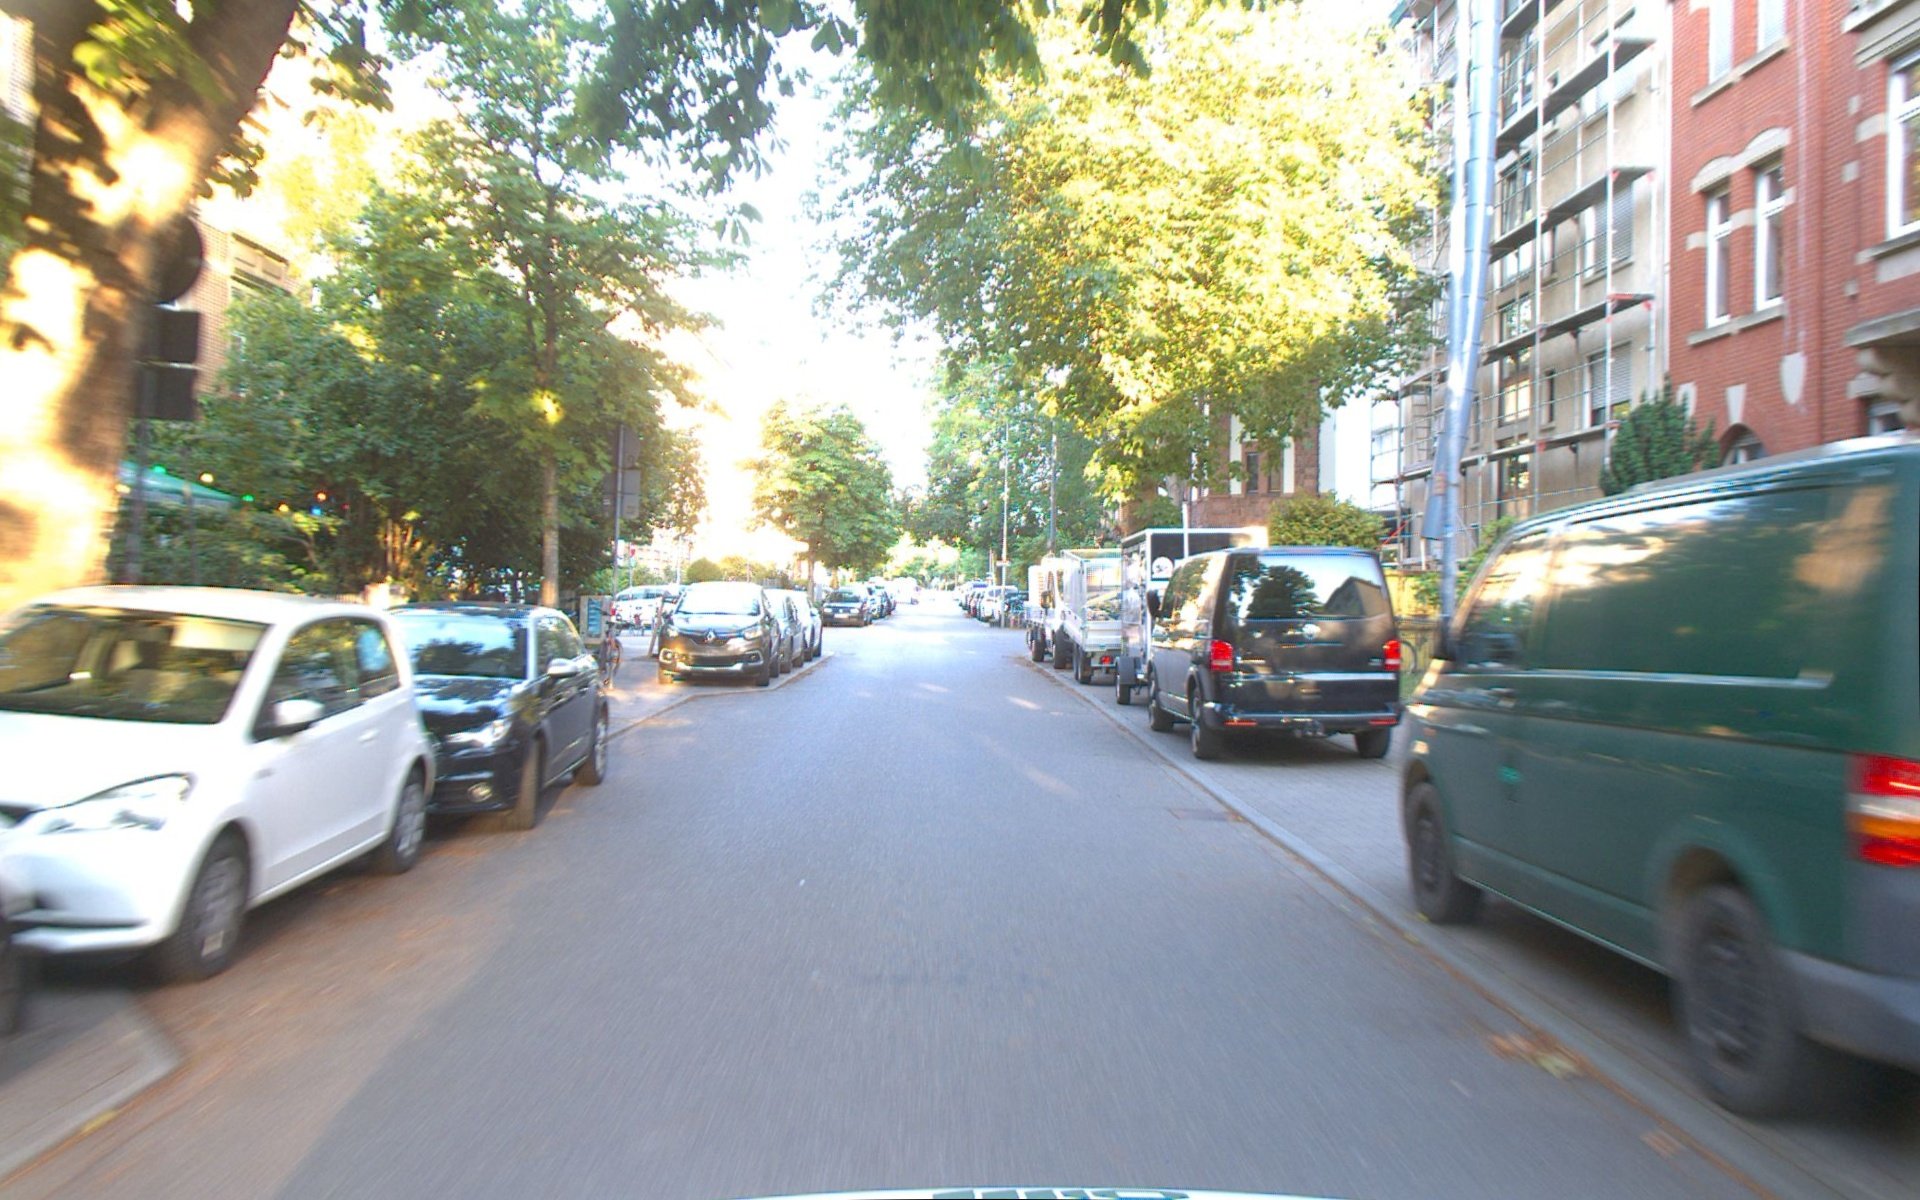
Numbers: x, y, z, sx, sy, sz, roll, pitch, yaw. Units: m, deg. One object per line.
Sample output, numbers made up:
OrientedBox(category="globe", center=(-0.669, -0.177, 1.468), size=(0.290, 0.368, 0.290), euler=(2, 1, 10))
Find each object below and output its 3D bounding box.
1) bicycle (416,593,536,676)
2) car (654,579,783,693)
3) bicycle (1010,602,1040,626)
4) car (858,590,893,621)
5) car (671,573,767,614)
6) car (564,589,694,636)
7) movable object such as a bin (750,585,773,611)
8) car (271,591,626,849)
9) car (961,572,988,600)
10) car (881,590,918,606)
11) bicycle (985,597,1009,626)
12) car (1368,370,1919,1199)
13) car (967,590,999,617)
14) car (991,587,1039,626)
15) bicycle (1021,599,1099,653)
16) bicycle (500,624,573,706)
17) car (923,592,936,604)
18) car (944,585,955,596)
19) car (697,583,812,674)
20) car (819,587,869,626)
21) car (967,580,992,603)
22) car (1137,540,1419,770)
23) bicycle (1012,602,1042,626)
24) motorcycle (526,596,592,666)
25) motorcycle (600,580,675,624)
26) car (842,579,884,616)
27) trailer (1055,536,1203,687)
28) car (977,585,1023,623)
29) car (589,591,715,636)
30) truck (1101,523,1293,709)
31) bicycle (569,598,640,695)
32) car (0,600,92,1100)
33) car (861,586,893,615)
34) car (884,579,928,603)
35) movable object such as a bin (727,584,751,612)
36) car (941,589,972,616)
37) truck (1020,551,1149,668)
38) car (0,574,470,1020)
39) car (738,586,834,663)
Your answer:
OrientedBox(category="bicycle", center=(-7.951, 0.542, 27.318), size=(0.593, 1.307, 2.486), euler=(0, 0, 19))
OrientedBox(category="car", center=(-3.800, 0.503, 26.659), size=(1.656, 1.590, 4.399), euler=(3, 1, -4))
OrientedBox(category="bicycle", center=(2.673, 0.577, 68.368), size=(1.207, 0.964, 0.328), euler=(0, 1, -24))
OrientedBox(category="car", center=(-4.432, 0.295, 87.137), size=(1.681, 1.594, 3.780), euler=(1, 0, -1))
OrientedBox(category="car", center=(-10.781, -0.301, 74.164), size=(4.011, 1.554, 1.708), euler=(4, 0, -2))
OrientedBox(category="car", center=(-11.323, 0.397, 56.620), size=(4.005, 1.472, 1.711), euler=(1, 1, 8))
OrientedBox(category="movable object such as a bin", center=(-10.764, -0.130, 89.815), size=(0.991, 1.344, 1.005), euler=(3, 1, 4))
OrientedBox(category="car", center=(-3.442, 0.707, 11.781), size=(1.520, 1.511, 3.692), euler=(0, 1, -3))
OrientedBox(category="car", center=(1.060, -1.013, 122.060), size=(1.647, 1.975, 3.878), euler=(1, 0, -4))
OrientedBox(category="car", center=(-5.913, -0.210, 161.469), size=(3.548, 1.487, 1.605), euler=(1, 0, -5))
OrientedBox(category="bicycle", center=(1.549, 0.476, 69.180), size=(0.434, 1.193, 1.635), euler=(1, 0, 24))
OrientedBox(category="car", center=(3.218, 0.417, 6.325), size=(1.915, 2.094, 4.829), euler=(-2, 1, -2))
OrientedBox(category="car", center=(1.280, 0.199, 93.488), size=(1.652, 1.466, 4.208), euler=(-1, 0, -1))
OrientedBox(category="car", center=(2.382, 0.268, 72.099), size=(1.654, 1.620, 3.655), euler=(1, 1, -5))
OrientedBox(category="bicycle", center=(2.497, 0.654, 41.348), size=(1.866, 1.280, 0.406), euler=(-2, 0, -7))
OrientedBox(category="bicycle", center=(-5.465, 0.821, 21.426), size=(0.407, 0.945, 1.735), euler=(3, 1, 2))
OrientedBox(category="car", center=(-4.182, -0.231, 229.671), size=(1.776, 1.624, 3.482), euler=(1, 1, -1))
OrientedBox(category="car", center=(-1.672, -1.456, 260.747), size=(1.681, 1.624, 3.482), euler=(1, 1, -1))
OrientedBox(category="car", center=(-3.854, 0.516, 31.624), size=(1.656, 1.528, 4.401), euler=(4, 0, -1))
OrientedBox(category="car", center=(-4.651, 0.246, 66.766), size=(1.583, 1.496, 3.962), euler=(1, 1, 1))
OrientedBox(category="car", center=(1.379, -0.598, 117.935), size=(1.508, 1.548, 3.429), euler=(1, 0, -4))
OrientedBox(category="car", center=(3.069, 0.443, 16.972), size=(1.802, 1.976, 4.612), euler=(-2, 1, -2))
OrientedBox(category="bicycle", center=(2.755, 0.565, 67.670), size=(1.207, 0.974, 0.328), euler=(0, 1, -24))
OrientedBox(category="motorcycle", center=(-7.686, 0.566, 31.813), size=(0.570, 1.176, 2.891), euler=(3, 2, -1))
OrientedBox(category="motorcycle", center=(-12.578, 0.065, 64.536), size=(2.791, 1.667, 0.675), euler=(1, 0, 7))
OrientedBox(category="car", center=(-4.868, -0.141, 83.251), size=(1.882, 1.747, 4.427), euler=(1, 1, -1))
OrientedBox(category="trailer", center=(2.829, 0.157, 28.700), size=(1.914, 2.335, 4.643), euler=(-2, 1, -1))
OrientedBox(category="car", center=(1.860, 0.198, 78.235), size=(1.762, 1.741, 4.597), euler=(0, 0, -4))
OrientedBox(category="car", center=(-10.935, 0.461, 58.779), size=(4.005, 1.472, 1.819), euler=(1, 1, 9))
OrientedBox(category="truck", center=(3.196, 0.163, 23.255), size=(1.914, 2.285, 4.644), euler=(-2, 1, -1))
OrientedBox(category="bicycle", center=(-5.052, 0.631, 23.577), size=(0.472, 1.277, 1.900), euler=(4, 1, 2))
OrientedBox(category="car", center=(-3.566, 0.726, 3.326), size=(1.571, 1.460, 3.885), euler=(3, 1, -1))
OrientedBox(category="car", center=(-4.771, 0.003, 95.068), size=(1.681, 1.593, 3.787), euler=(1, 1, -1))
OrientedBox(category="car", center=(-5.383, -0.898, 164.264), size=(4.263, 2.358, 1.745), euler=(1, 0, -3))
OrientedBox(category="movable object such as a bin", center=(-11.974, -0.131, 89.622), size=(1.078, 1.439, 1.001), euler=(3, 1, -15))
OrientedBox(category="car", center=(-0.250, 0.150, 101.117), size=(1.653, 1.634, 3.937), euler=(1, 0, -4))
OrientedBox(category="truck", center=(2.562, 0.187, 35.781), size=(1.938, 2.284, 6.772), euler=(0, 0, -3))
OrientedBox(category="car", center=(-3.624, 0.675, 7.727), size=(1.520, 1.511, 3.694), euler=(3, 1, 0))
OrientedBox(category="car", center=(-3.870, 0.504, 37.416), size=(1.655, 1.528, 4.737), euler=(3, 1, -1))
